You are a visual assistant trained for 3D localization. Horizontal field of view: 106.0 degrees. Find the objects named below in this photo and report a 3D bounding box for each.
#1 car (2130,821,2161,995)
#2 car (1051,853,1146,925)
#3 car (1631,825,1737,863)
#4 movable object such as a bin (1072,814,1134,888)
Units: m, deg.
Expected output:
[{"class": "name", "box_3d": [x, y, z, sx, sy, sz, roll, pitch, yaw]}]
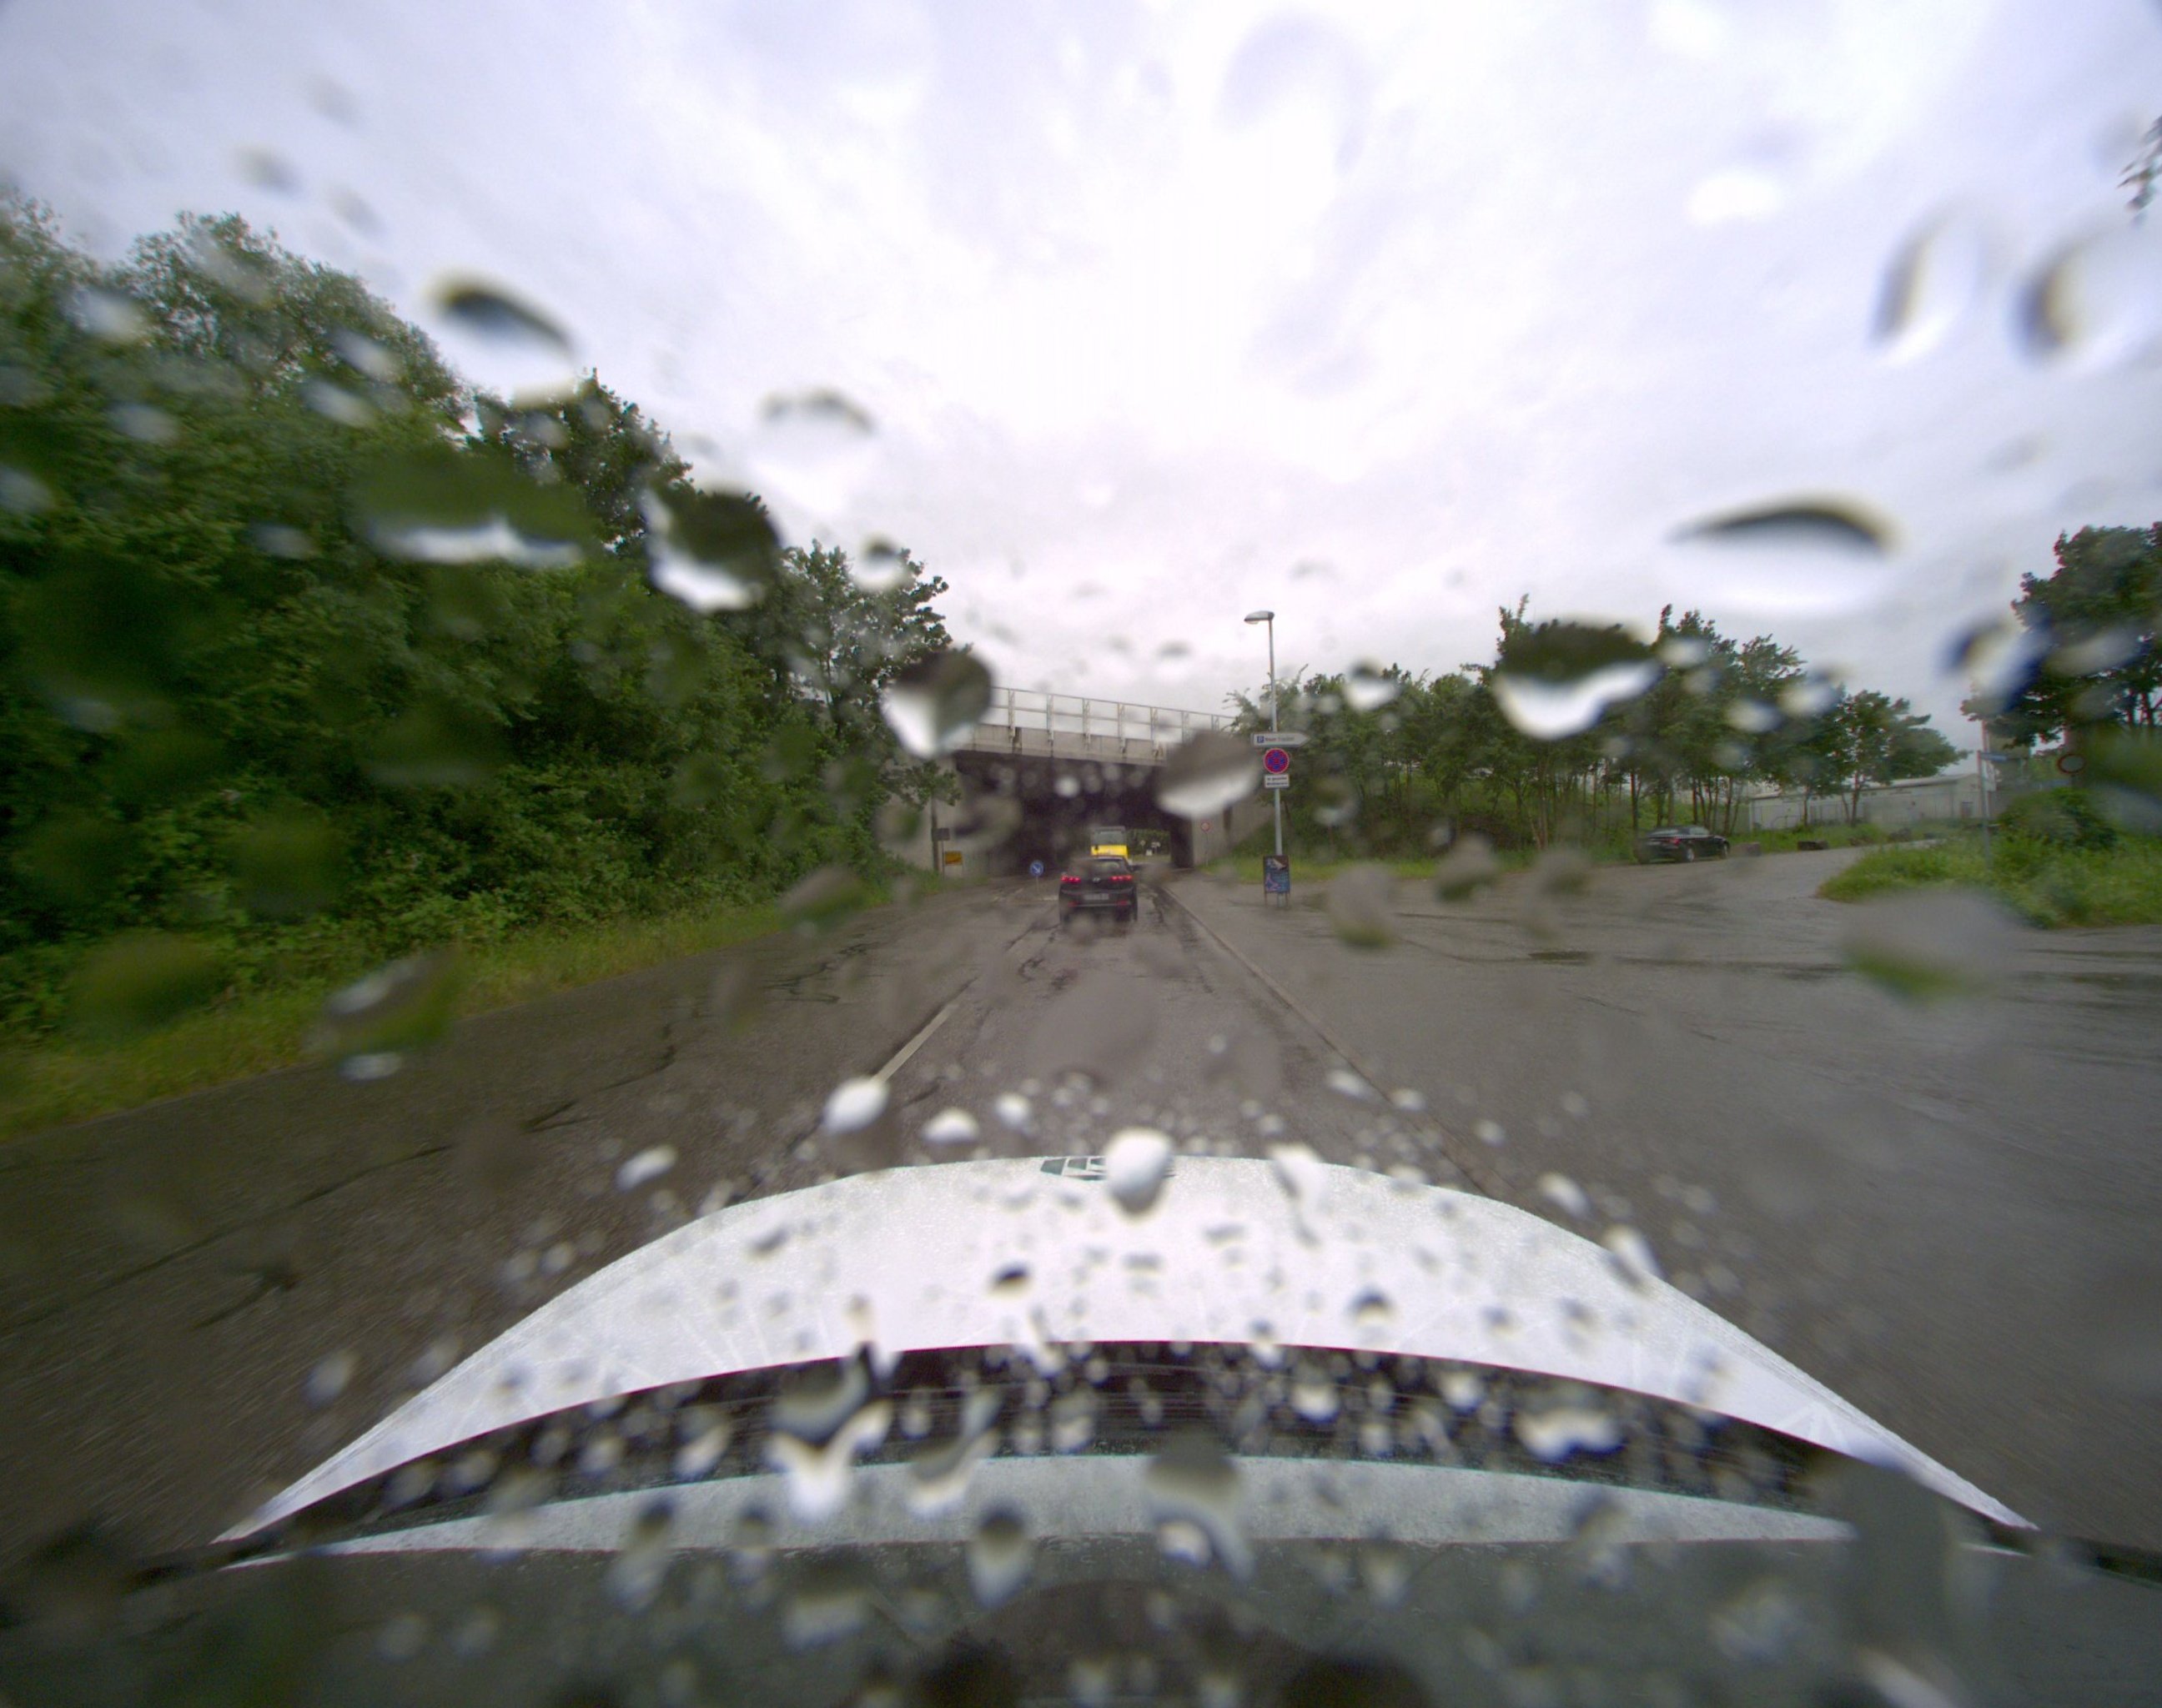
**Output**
[{"class": "car", "box_3d": [11.501, 0.450, 7.557, 3.869, 1.532, 1.702, -1, 0, -31]}, {"class": "car", "box_3d": [0.416, 0.729, 19.090, 1.986, 1.487, 4.001, -1, 0, 1]}, {"class": "car", "box_3d": [22.975, -0.385, 31.009, 4.126, 1.359, 1.886, -1, 0, -32]}, {"class": "movable object such as a bin", "box_3d": [0.886, -0.108, 33.117, 2.237, 2.669, 6.628, -1, 0, 1]}]
